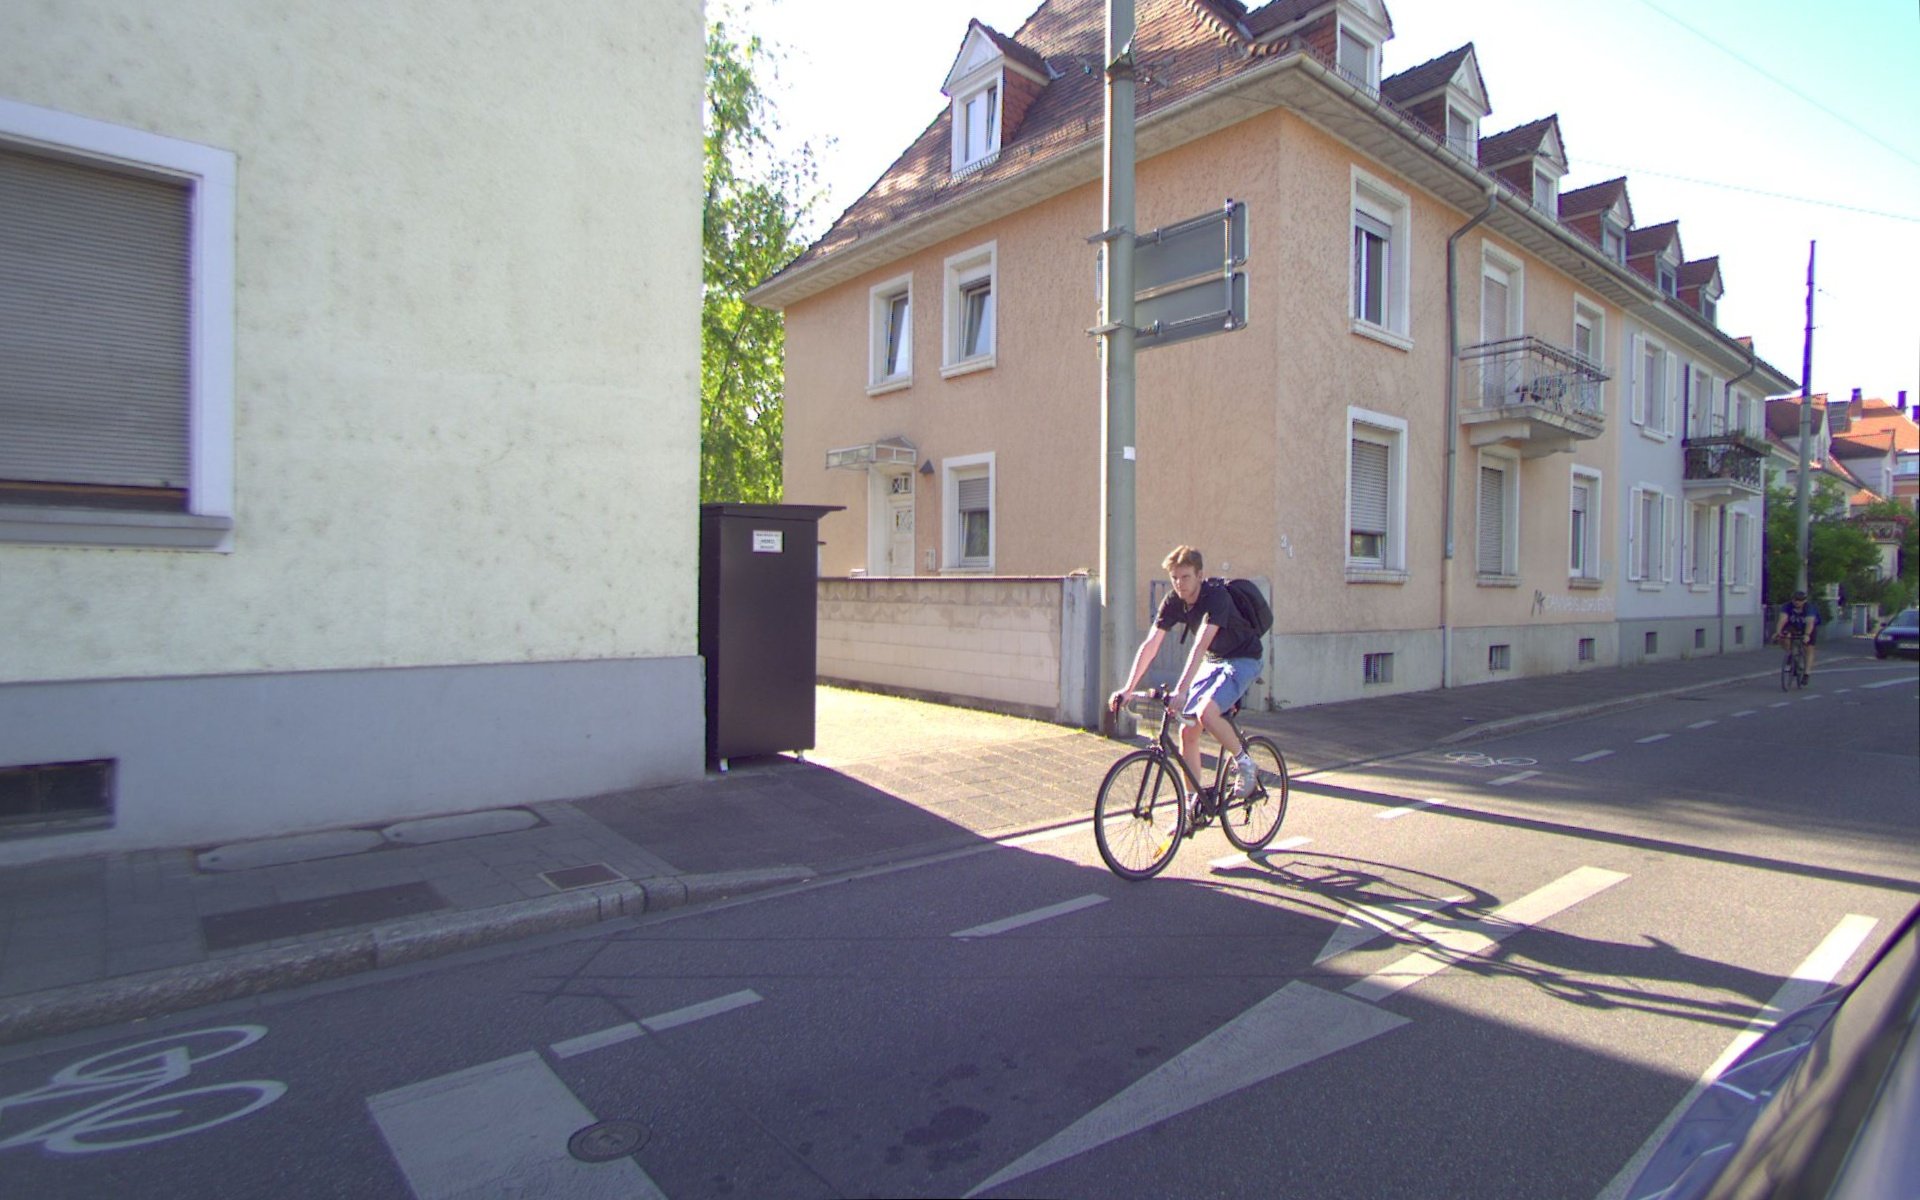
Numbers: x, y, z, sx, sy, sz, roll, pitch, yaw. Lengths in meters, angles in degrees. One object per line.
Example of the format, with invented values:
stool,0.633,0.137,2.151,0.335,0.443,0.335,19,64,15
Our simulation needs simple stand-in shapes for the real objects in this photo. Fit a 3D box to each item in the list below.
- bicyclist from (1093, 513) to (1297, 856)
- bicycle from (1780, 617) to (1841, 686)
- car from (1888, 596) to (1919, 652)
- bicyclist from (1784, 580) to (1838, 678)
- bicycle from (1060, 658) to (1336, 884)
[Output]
bicyclist,1.334,0.424,5.708,1.064,1.752,0.561,0,0,-36
bicycle,14.578,0.848,17.330,1.764,1.076,0.550,-1,1,-42
car,26.714,0.629,27.398,4.347,1.425,1.866,0,1,-41
bicyclist,14.584,0.477,17.346,0.999,1.637,0.561,0,1,-42
bicycle,1.399,0.893,5.769,1.725,1.029,0.533,0,1,-36
